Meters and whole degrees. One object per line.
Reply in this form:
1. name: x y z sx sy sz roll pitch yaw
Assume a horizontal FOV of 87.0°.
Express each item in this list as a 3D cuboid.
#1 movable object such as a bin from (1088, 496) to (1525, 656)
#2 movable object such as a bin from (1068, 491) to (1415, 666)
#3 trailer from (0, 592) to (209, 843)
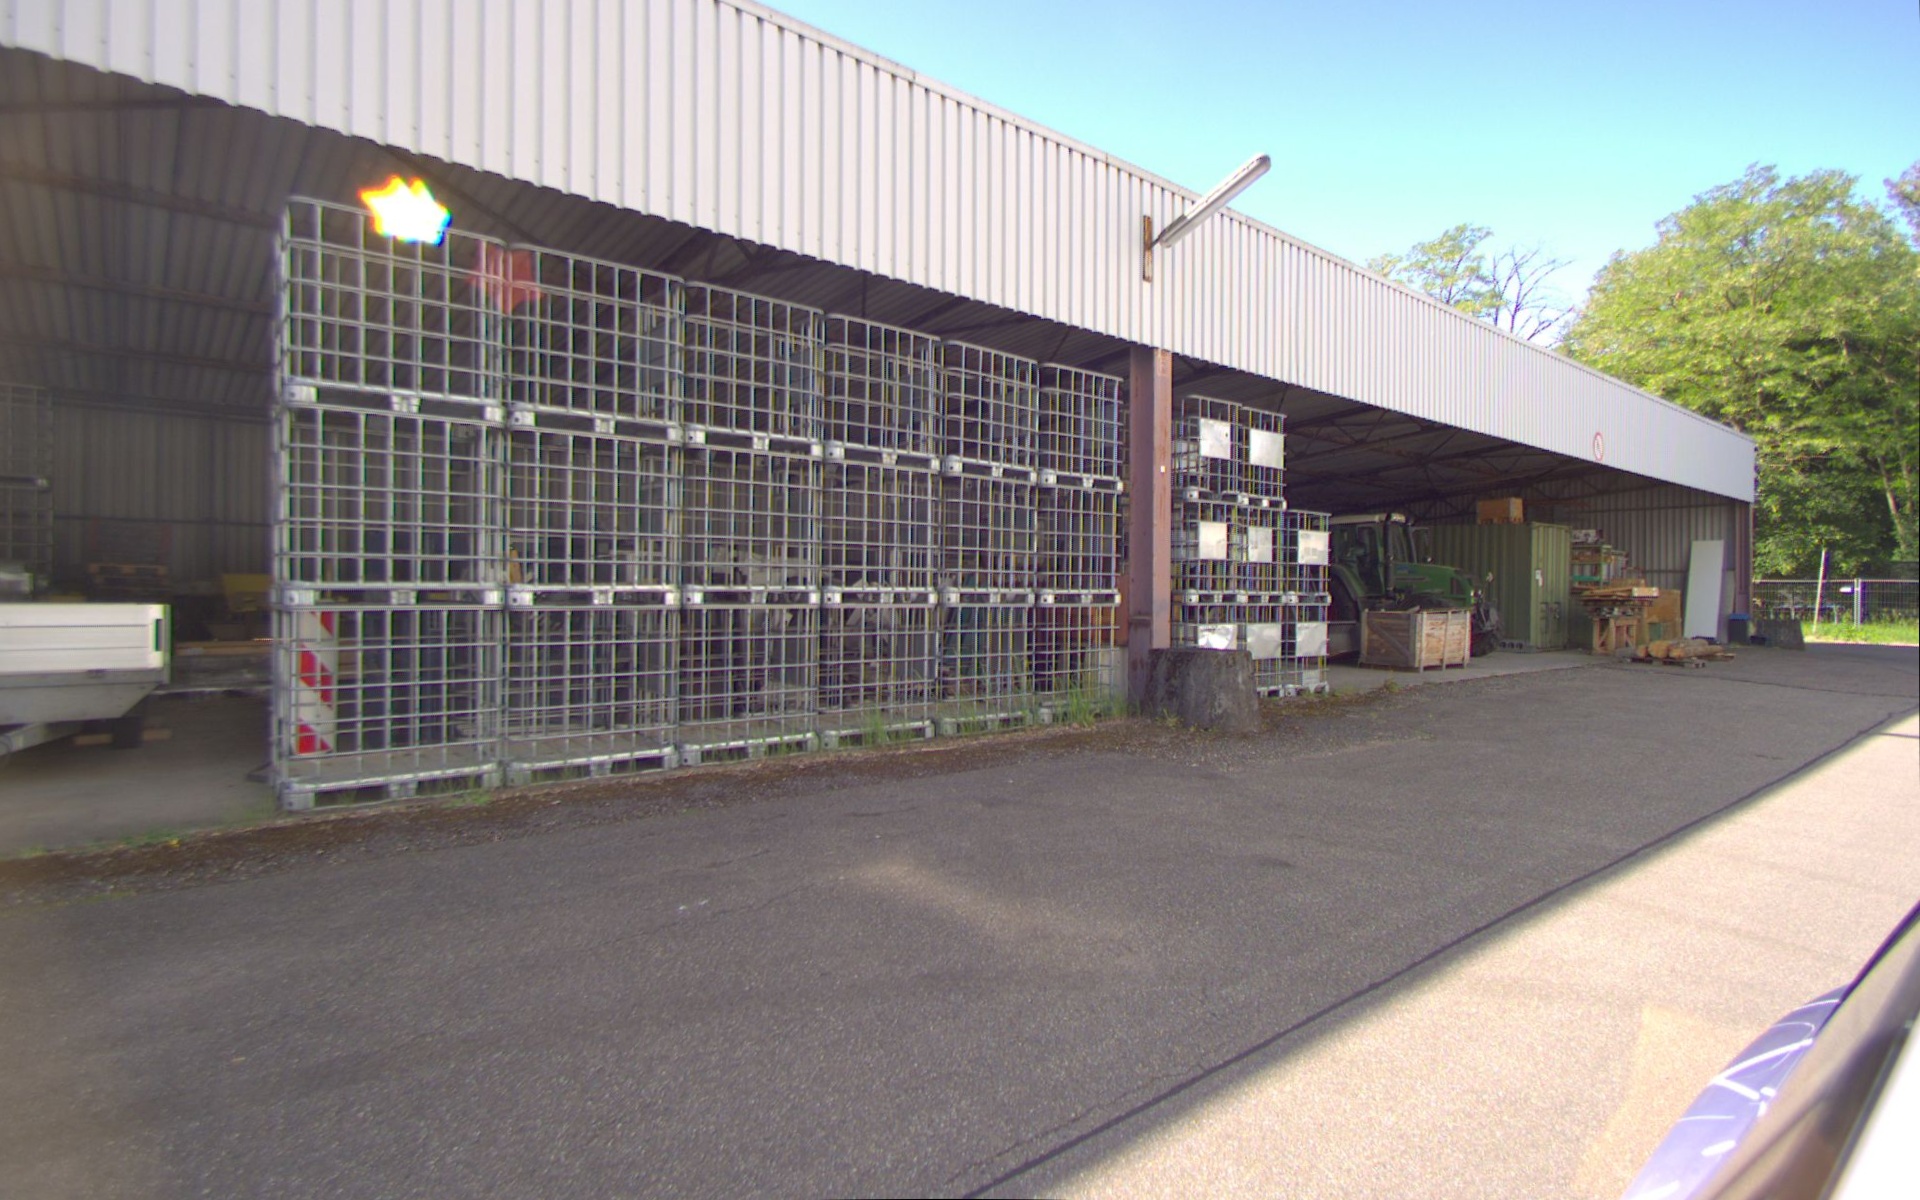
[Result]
1. movable object such as a bin: 7.363 -0.486 23.130 3.154 2.947 9.213 0 0 -39
2. movable object such as a bin: 5.426 -0.394 20.382 2.962 2.947 6.199 0 0 -39
3. trailer: -6.756 0.555 6.939 2.104 1.147 5.857 0 1 -41
